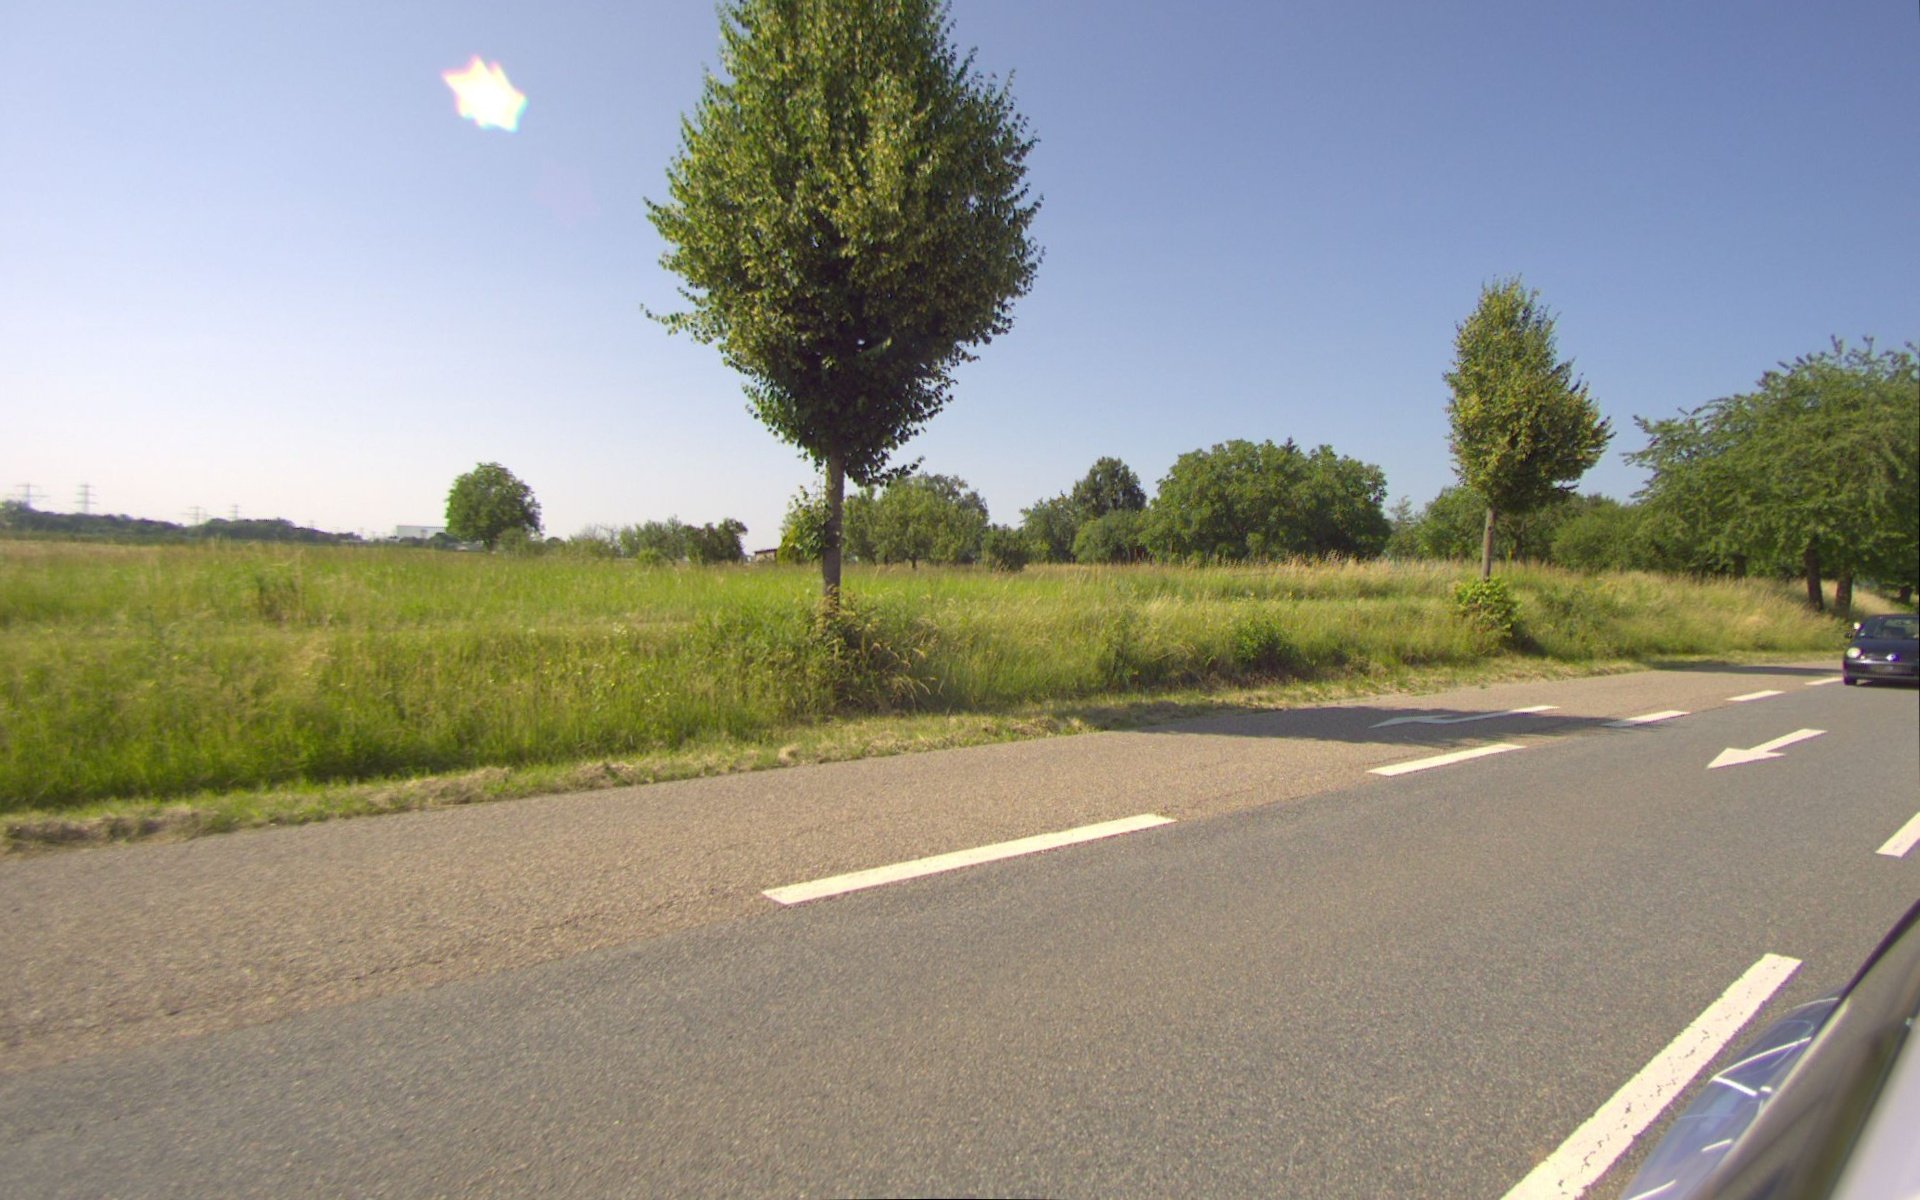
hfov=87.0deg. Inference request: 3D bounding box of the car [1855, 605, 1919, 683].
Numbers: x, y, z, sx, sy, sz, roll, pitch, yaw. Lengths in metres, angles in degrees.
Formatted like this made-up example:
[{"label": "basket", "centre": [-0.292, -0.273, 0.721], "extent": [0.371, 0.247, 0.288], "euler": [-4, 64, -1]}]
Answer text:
[{"label": "car", "centre": [19.351, 0.846, 20.298], "extent": [3.559, 1.451, 1.628], "euler": [0, 0, -41]}]
